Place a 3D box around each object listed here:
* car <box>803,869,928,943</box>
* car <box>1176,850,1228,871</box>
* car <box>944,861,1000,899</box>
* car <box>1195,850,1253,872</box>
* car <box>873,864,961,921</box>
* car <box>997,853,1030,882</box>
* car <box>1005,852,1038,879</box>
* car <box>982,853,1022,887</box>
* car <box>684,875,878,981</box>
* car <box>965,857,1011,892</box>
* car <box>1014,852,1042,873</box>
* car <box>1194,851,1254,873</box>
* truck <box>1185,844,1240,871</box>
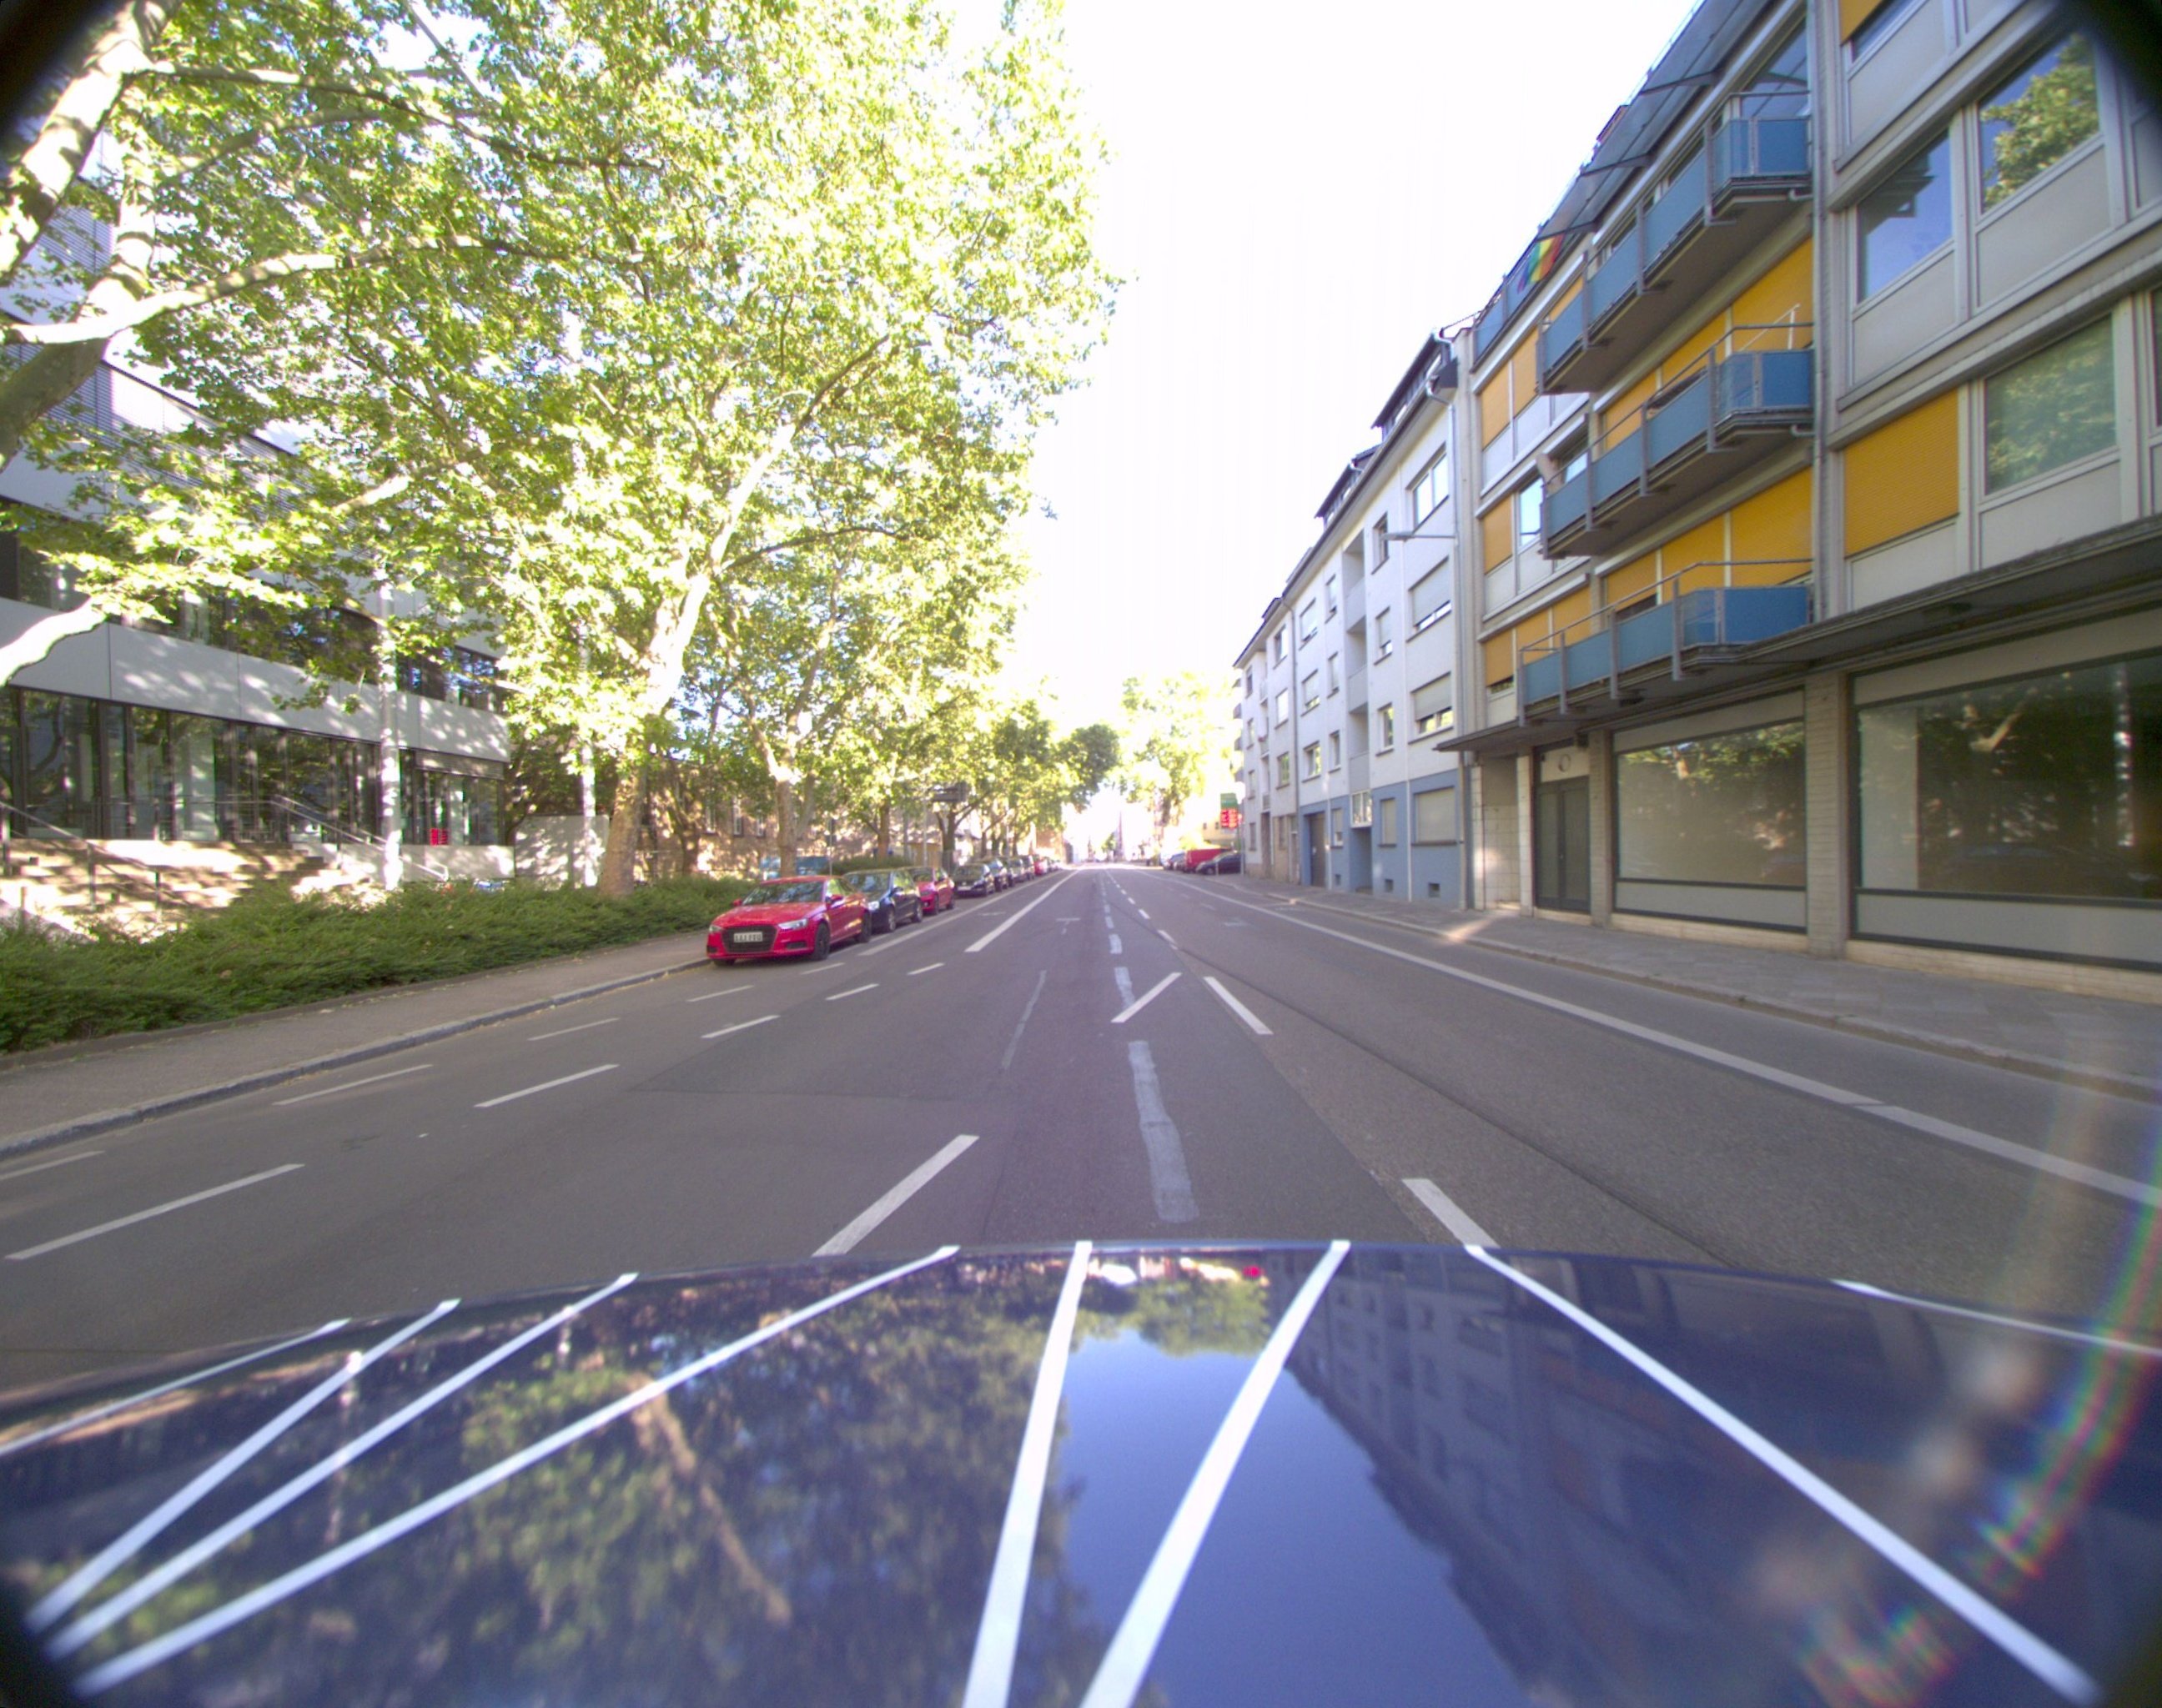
[{"bbox_3d":[-5.087,1.173,18.566,1.818,1.405,4.163,-3,0,0],"label":"car"},{"bbox_3d":[9.974,0.537,62.835,3.996,1.494,1.761,-2,1,2],"label":"car"},{"bbox_3d":[-4.707,1.082,33.376,1.790,1.451,4.163,-3,0,0],"label":"car"},{"bbox_3d":[10.724,0.490,57.132,3.996,1.494,1.761,-2,1,2],"label":"car"},{"bbox_3d":[-5.034,1.128,23.849,1.818,1.475,4.163,-3,0,0],"label":"car"},{"bbox_3d":[-4.450,0.858,50.694,1.790,1.745,4.552,-3,0,0],"label":"car"},{"bbox_3d":[-4.321,0.803,55.652,2.042,1.745,4.552,-3,0,0],"label":"car"},{"bbox_3d":[-4.529,0.874,44.139,1.790,1.745,4.345,-3,0,0],"label":"car"},{"bbox_3d":[-5.143,1.196,13.710,1.818,1.405,4.163,-3,0,0],"label":"car"},{"bbox_3d":[-4.606,0.983,38.122,1.790,1.544,4.163,-3,0,0],"label":"car"},{"bbox_3d":[-4.596,0.706,66.083,2.042,1.745,4.552,-3,0,0],"label":"car"},{"bbox_3d":[10.250,0.556,54.785,3.996,1.449,1.761,-2,1,2],"label":"car"},{"bbox_3d":[10.364,0.256,59.982,3.996,1.925,1.761,-2,1,2],"label":"truck"}]
